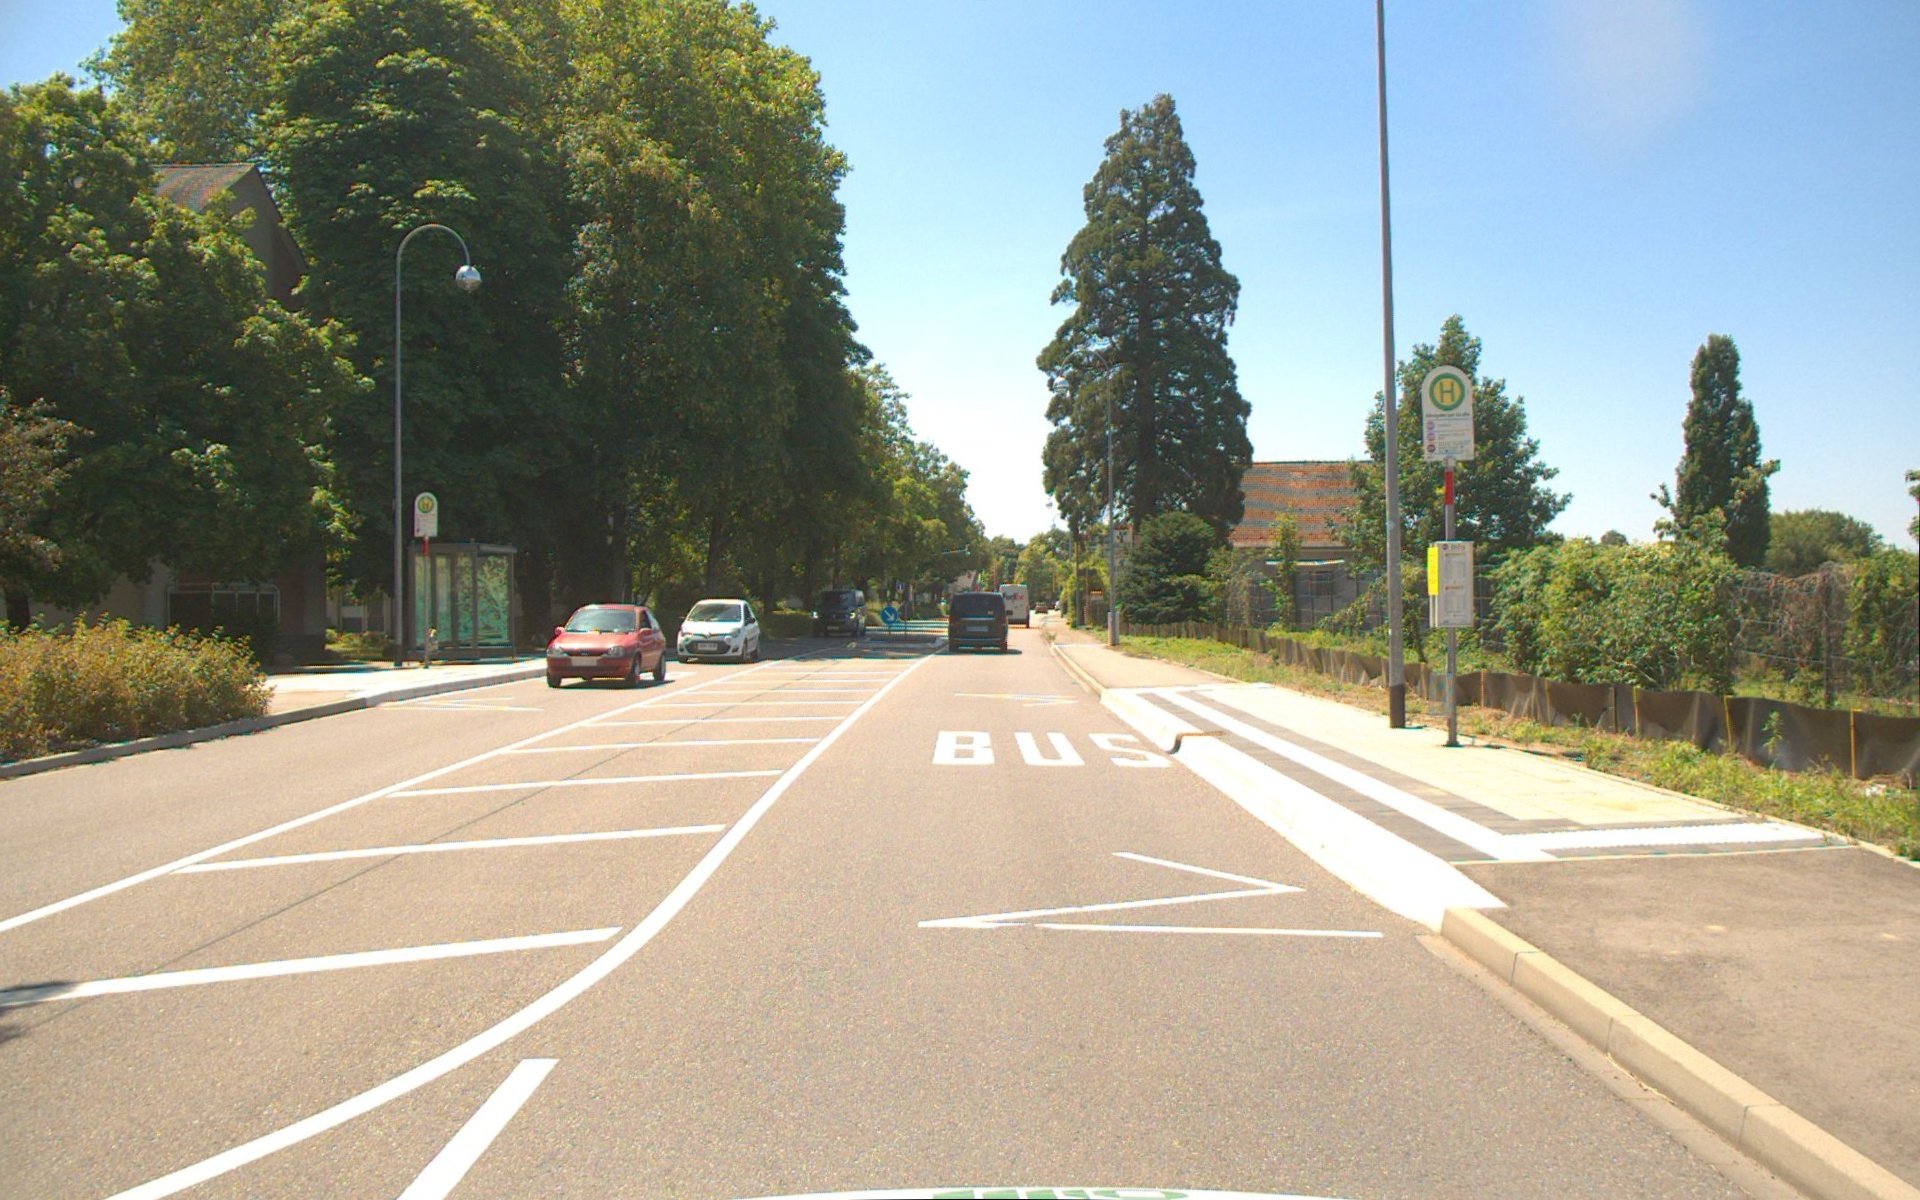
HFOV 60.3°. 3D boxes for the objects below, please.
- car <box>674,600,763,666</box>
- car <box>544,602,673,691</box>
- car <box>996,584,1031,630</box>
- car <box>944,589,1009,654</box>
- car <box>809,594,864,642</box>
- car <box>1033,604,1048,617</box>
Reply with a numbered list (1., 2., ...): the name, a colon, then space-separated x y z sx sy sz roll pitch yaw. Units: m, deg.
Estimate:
1. car: -5.878 0.775 40.574 1.656 1.485 3.639 1 0 -1
2. car: -6.239 0.793 29.697 1.519 1.476 3.690 1 -1 0
3. car: 3.287 0.384 101.794 2.076 2.724 5.663 1 0 1
4. car: 0.498 0.643 52.334 1.953 1.926 4.000 1 0 0
5. car: -5.185 0.713 69.946 1.953 1.943 4.991 1 0 0
6. car: 10.987 1.457 225.922 1.820 1.671 3.999 1 0 -1
